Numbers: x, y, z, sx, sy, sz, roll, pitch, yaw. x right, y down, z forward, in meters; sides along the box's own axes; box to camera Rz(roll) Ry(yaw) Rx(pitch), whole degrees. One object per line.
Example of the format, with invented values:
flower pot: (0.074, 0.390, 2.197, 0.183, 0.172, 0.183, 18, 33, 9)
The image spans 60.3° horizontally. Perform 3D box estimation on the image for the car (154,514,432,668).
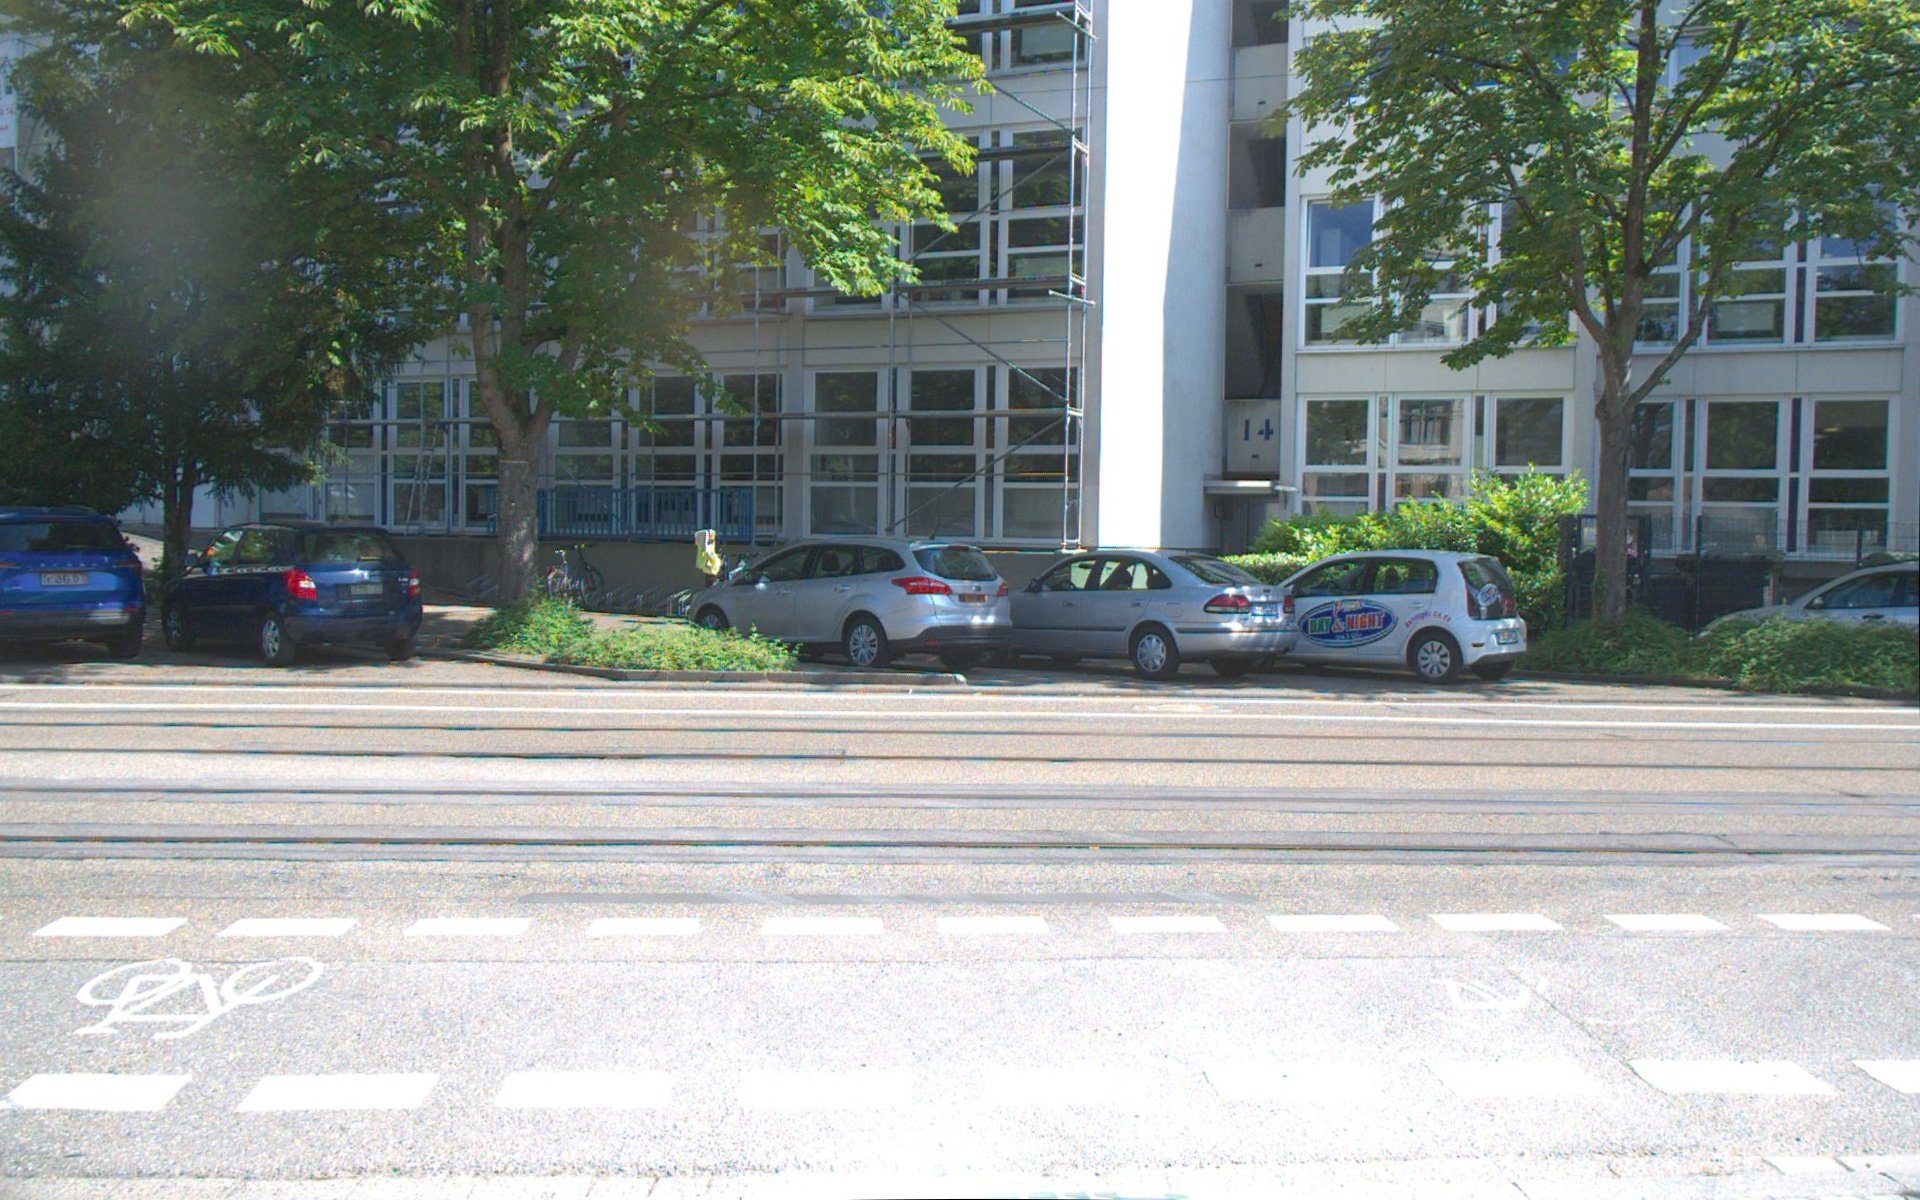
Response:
car: (-7.530, -0.161, 18.545, 3.396, 1.557, 1.567, 3, 3, 42)

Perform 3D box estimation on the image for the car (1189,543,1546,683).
car: (4.784, 0.091, 19.736, 3.876, 1.512, 1.603, 1, 2, 43)

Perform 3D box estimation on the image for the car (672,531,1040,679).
car: (-1.311, -0.022, 19.407, 4.356, 1.511, 1.774, 3, 3, 42)

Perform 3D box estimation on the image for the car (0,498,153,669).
car: (-10.544, -0.275, 18.341, 1.767, 1.650, 3.883, -2, 5, -44)

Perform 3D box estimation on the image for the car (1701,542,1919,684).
car: (11.464, 0.144, 20.068, 4.262, 1.632, 1.551, 2, 2, 39)

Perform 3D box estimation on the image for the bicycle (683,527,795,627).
bicycle: (-3.428, -0.378, 25.837, 0.648, 1.478, 2.088, 2, 2, 27)

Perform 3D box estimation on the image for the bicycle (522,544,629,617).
bicycle: (-6.148, -0.342, 26.595, 0.725, 1.104, 2.205, 1, 2, 15)

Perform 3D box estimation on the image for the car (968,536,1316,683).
car: (2.046, 0.037, 19.344, 3.878, 1.511, 1.602, 3, 3, 44)
